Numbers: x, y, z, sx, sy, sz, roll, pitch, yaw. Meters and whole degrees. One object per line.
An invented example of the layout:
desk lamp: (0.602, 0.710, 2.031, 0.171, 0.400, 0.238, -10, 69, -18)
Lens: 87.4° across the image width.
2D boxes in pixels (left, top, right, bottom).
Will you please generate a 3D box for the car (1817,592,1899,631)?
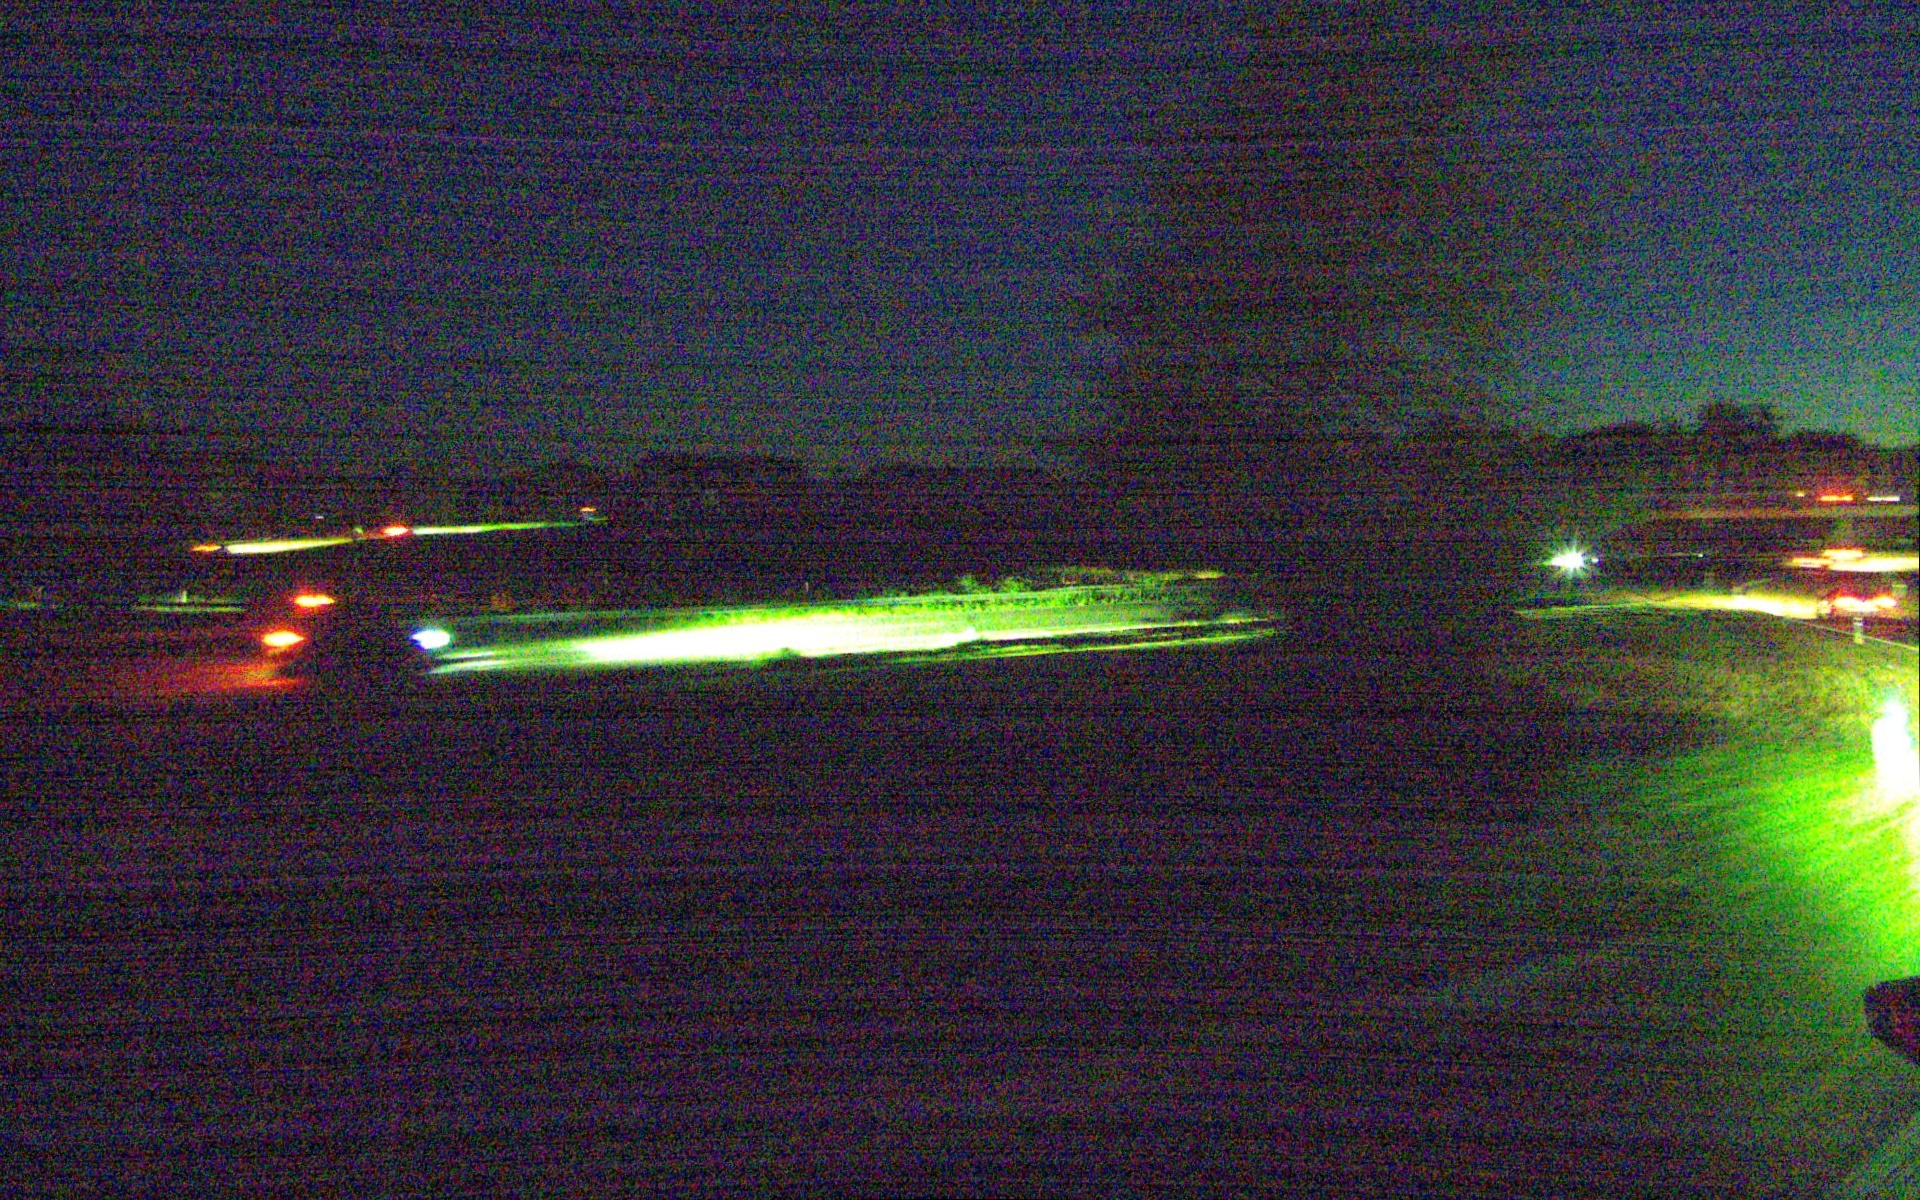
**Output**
car: (38.403, 0.456, 43.040, 1.924, 1.558, 4.230, -1, 0, 32)

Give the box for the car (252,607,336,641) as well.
car: (-37.182, 1.327, 56.098, 3.921, 1.808, 1.876, 0, 1, 18)

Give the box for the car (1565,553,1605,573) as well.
car: (60.990, -3.583, 98.052, 3.955, 1.912, 1.800, -2, 3, -32)

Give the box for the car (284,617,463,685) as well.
car: (-18.003, 1.504, 30.987, 4.590, 1.630, 1.929, -2, 5, -32)
